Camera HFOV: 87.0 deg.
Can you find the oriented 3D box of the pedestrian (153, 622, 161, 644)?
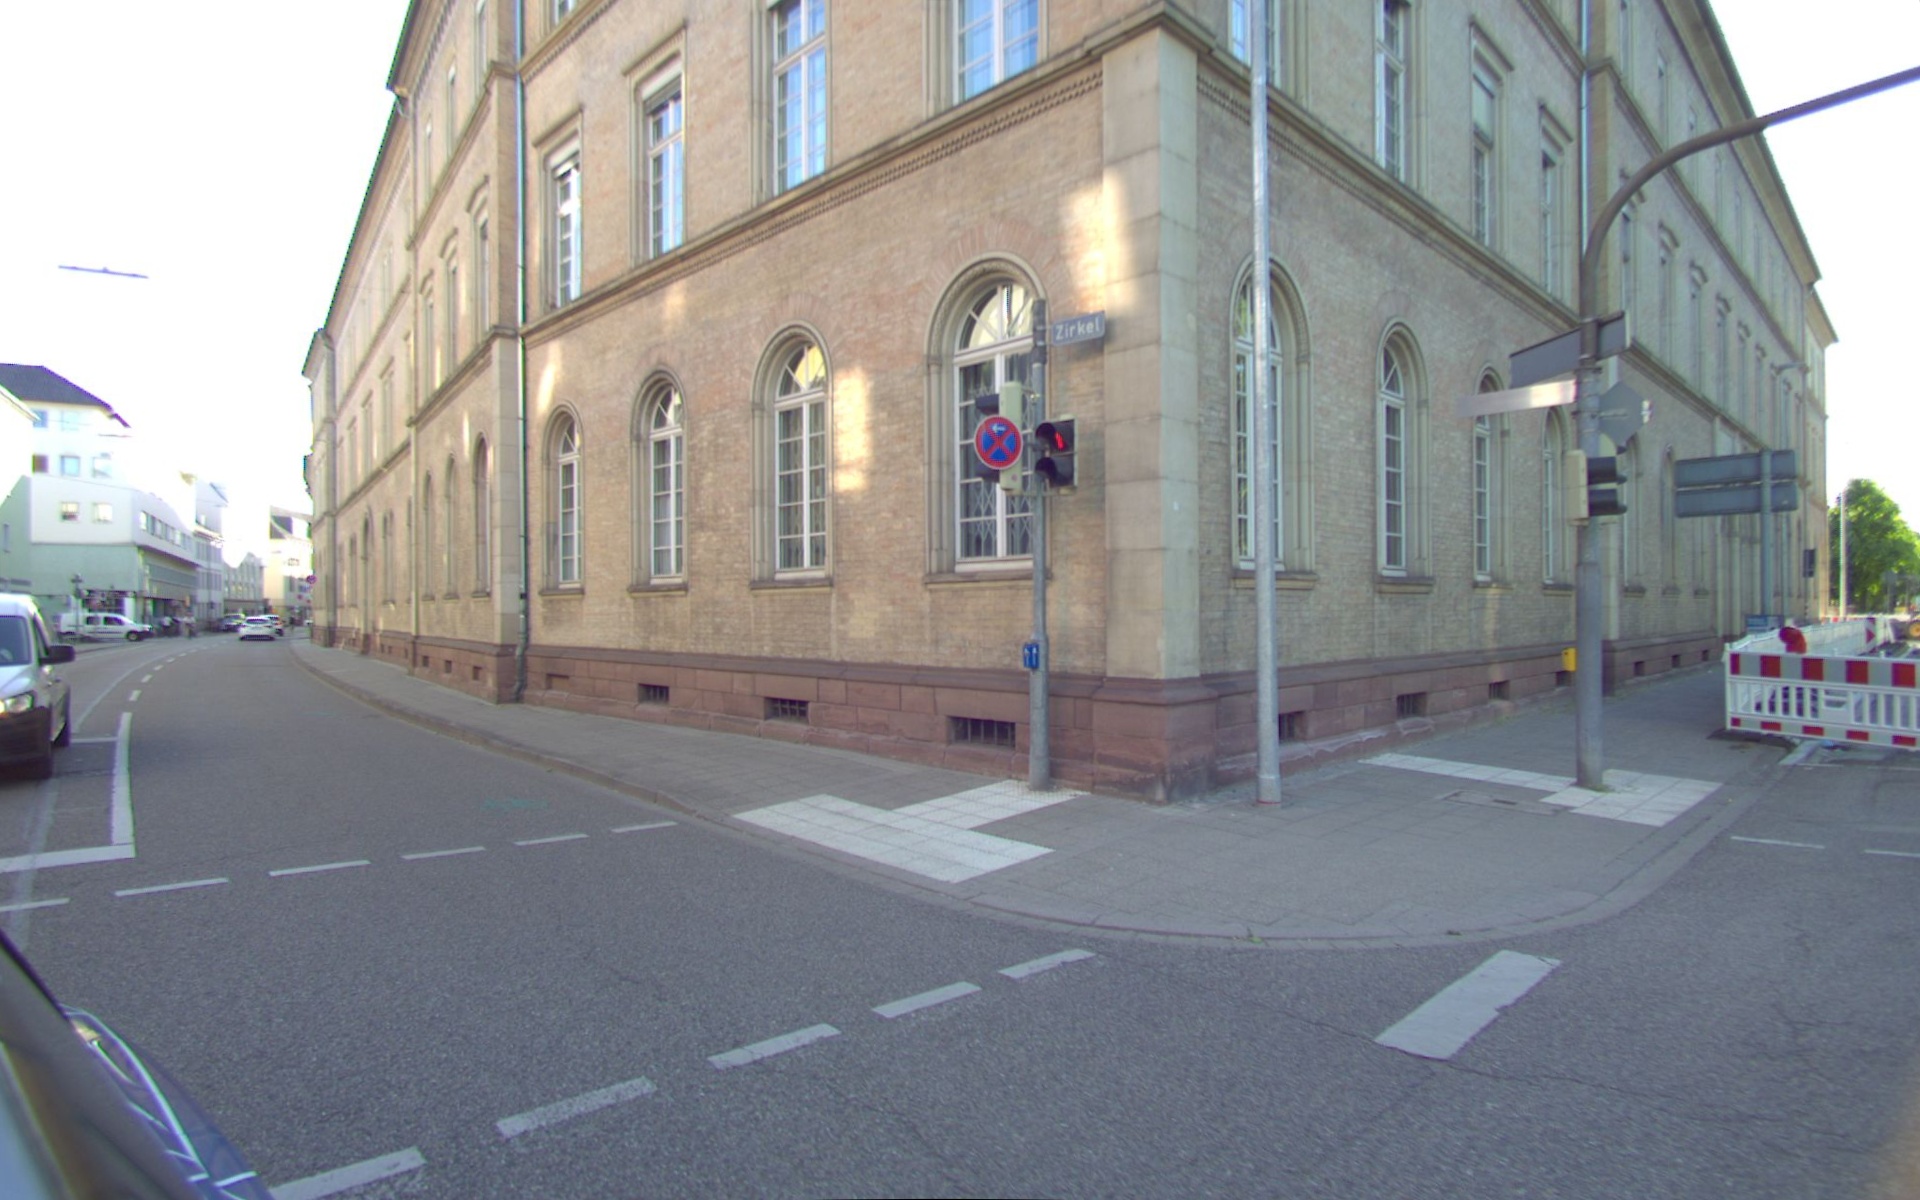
[{"bbox_3d":[-56.914,2.315,71.698,0.365,1.567,0.405,0,-1,-31],"label":"pedestrian"}]

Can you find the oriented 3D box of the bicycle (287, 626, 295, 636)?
[{"bbox_3d":[-64.745,3.028,98.002,0.599,0.935,2.270,0,-1,-35],"label":"bicycle"}]

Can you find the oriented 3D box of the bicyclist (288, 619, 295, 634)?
[{"bbox_3d":[-64.761,2.549,98.010,0.595,1.454,0.580,0,-1,-35],"label":"bicyclist"}]

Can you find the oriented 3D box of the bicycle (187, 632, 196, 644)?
[{"bbox_3d":[-48.515,2.395,63.863,0.343,0.729,1.118,0,-1,-44],"label":"bicycle"}]

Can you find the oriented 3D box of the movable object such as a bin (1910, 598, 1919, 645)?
[{"bbox_3d":[46.872,0.961,46.734,1.912,2.208,4.005,-1,-2,-7],"label":"movable object such as a bin"}]

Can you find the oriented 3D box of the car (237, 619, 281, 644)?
[{"bbox_3d":[-43.517,1.951,62.920,1.860,1.487,4.558,2,-2,-30],"label":"car"}]

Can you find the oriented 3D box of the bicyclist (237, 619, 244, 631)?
[{"bbox_3d":[-73.707,2.524,103.679,0.540,1.220,0.585,0,-1,-34],"label":"bicyclist"}]

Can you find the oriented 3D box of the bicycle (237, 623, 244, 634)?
[{"bbox_3d":[-73.707,2.914,103.680,0.540,1.091,1.969,0,-1,-33],"label":"bicycle"}]

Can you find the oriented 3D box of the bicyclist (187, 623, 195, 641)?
[{"bbox_3d":[-48.522,2.036,63.872,0.343,1.116,0.368,1,-1,-44],"label":"bicyclist"}]

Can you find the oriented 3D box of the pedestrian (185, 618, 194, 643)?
[{"bbox_3d":[-56.284,2.221,73.929,0.500,1.775,0.412,0,-1,-35],"label":"pedestrian"}]

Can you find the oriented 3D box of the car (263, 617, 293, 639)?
[{"bbox_3d":[-50.569,2.086,75.059,1.662,1.594,4.287,2,-2,-32],"label":"car"}]

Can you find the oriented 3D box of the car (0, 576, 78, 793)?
[{"bbox_3d":[-10.355,0.764,10.329,1.791,1.850,5.351,0,-1,-38],"label":"car"}]

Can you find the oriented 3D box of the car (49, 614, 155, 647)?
[{"bbox_3d":[-52.695,1.839,62.257,4.687,1.953,2.006,0,-1,-31],"label":"car"}]
